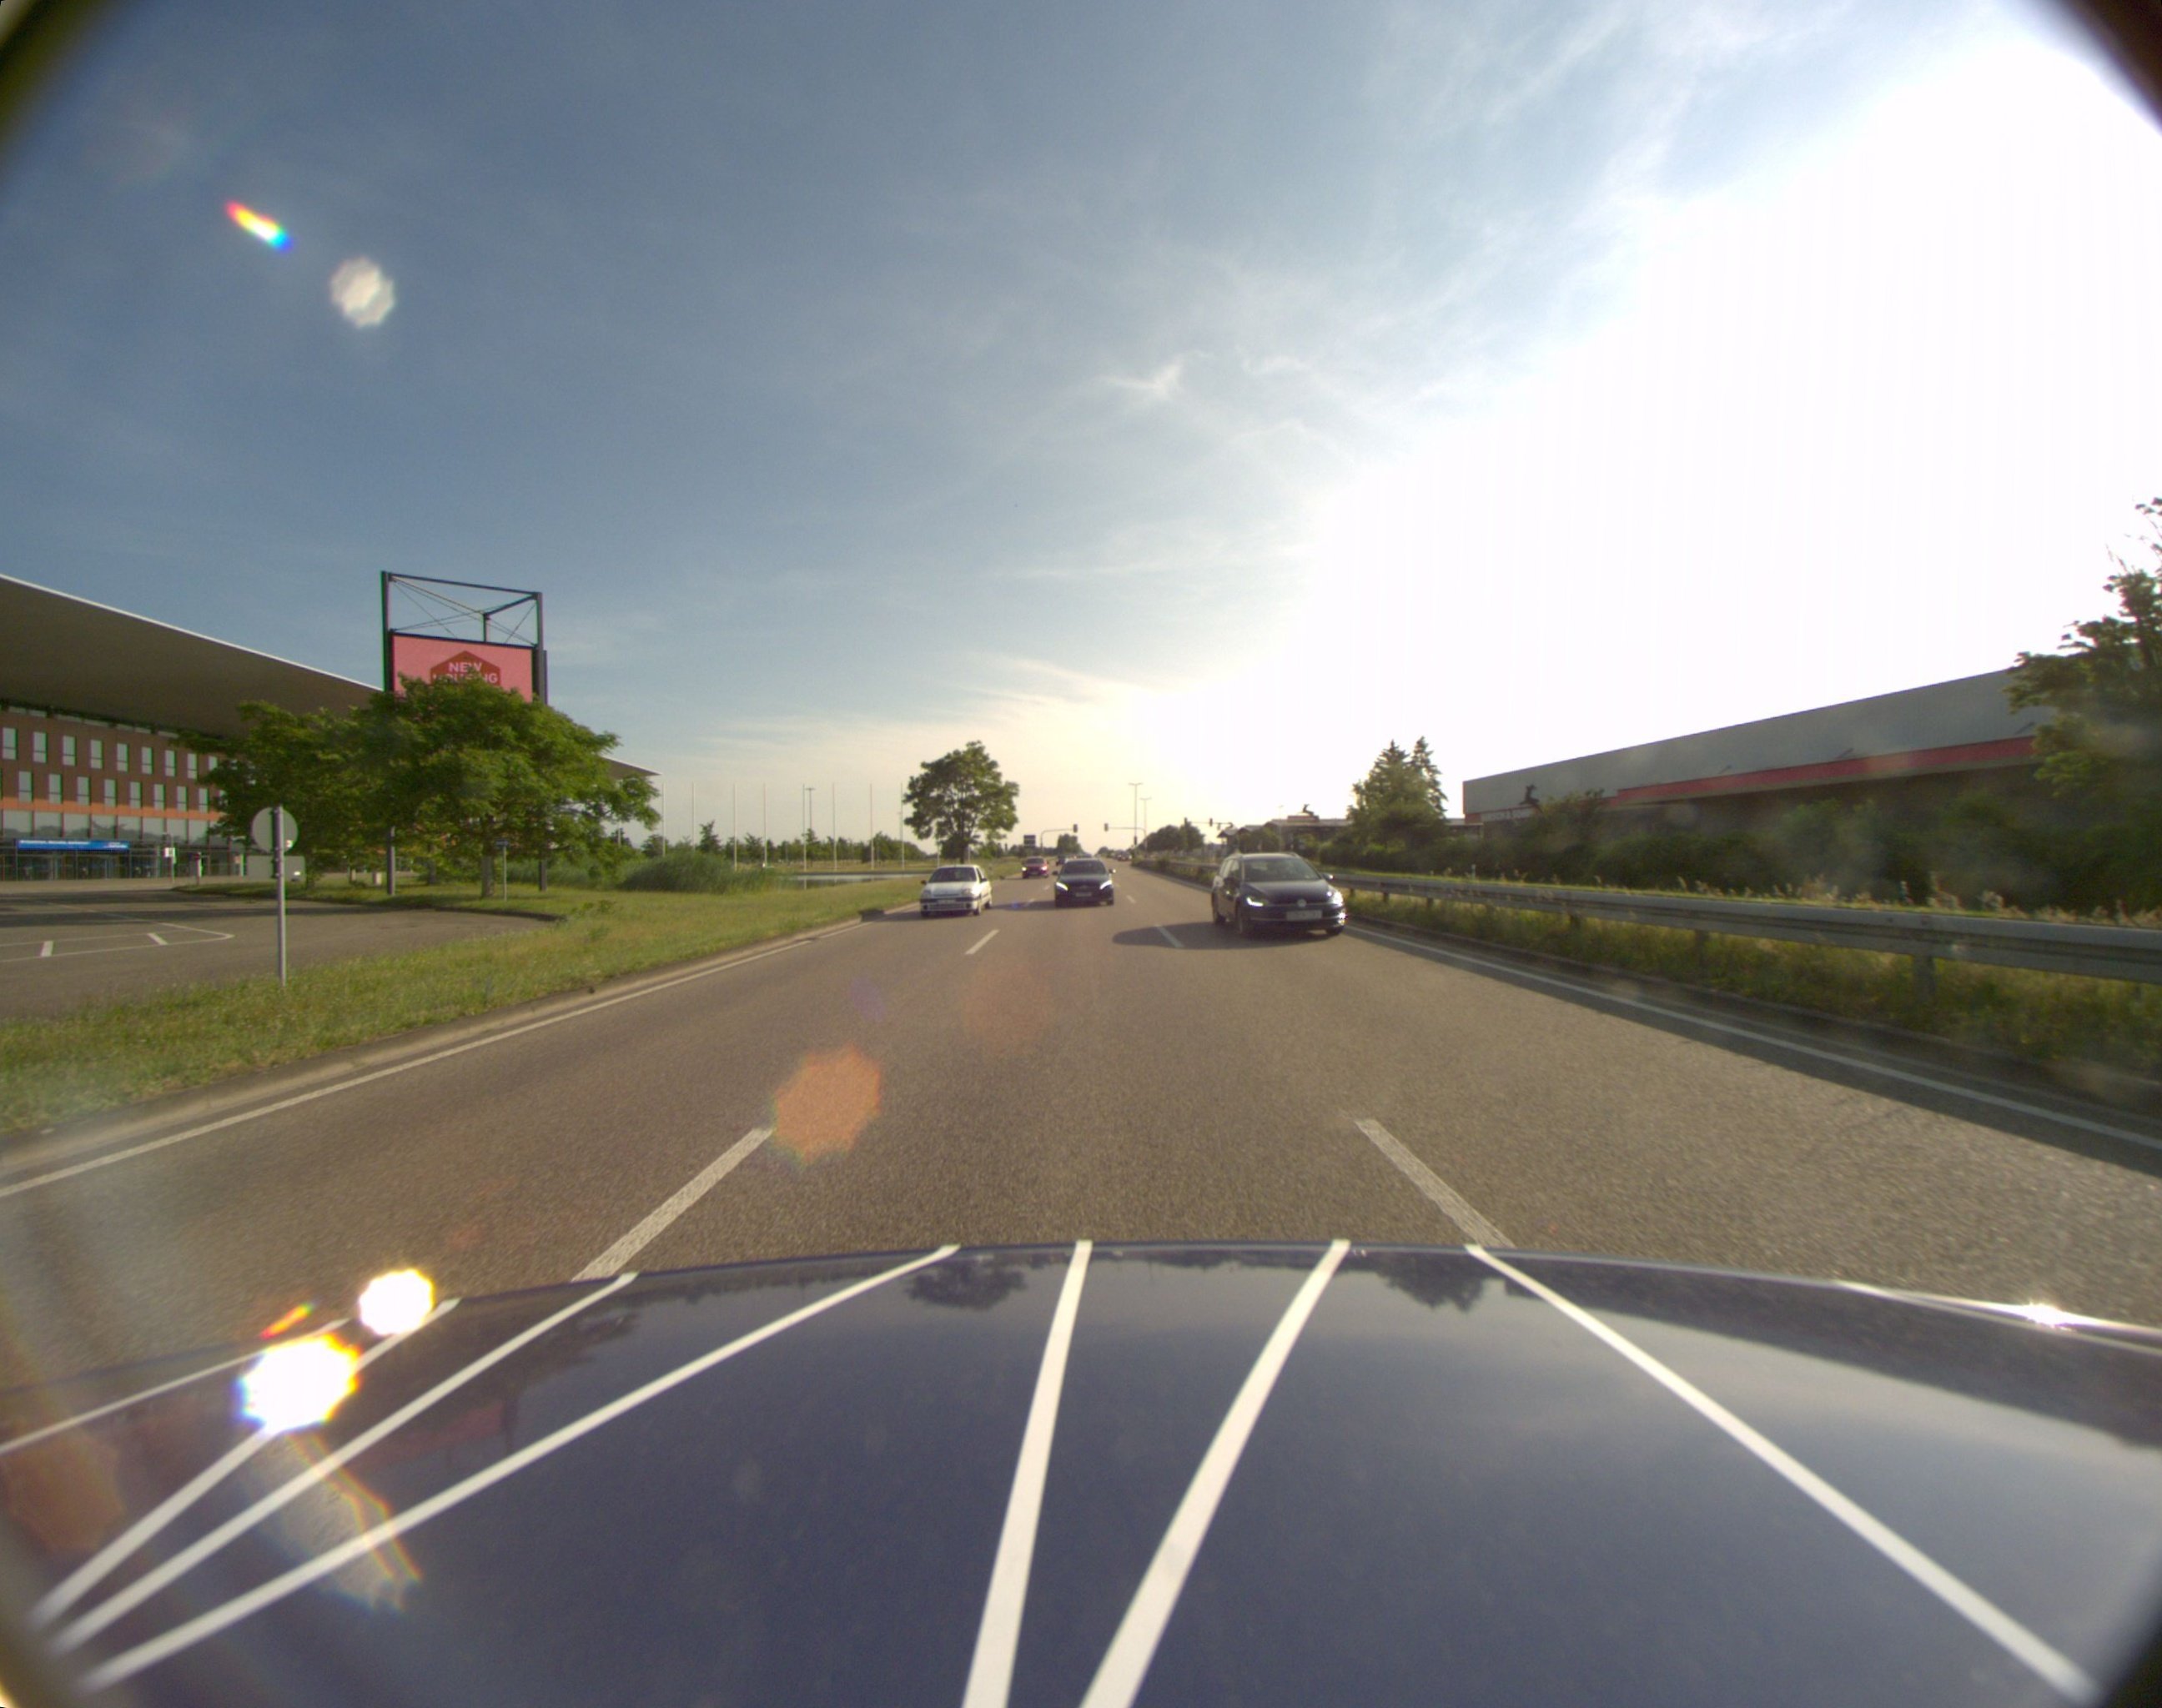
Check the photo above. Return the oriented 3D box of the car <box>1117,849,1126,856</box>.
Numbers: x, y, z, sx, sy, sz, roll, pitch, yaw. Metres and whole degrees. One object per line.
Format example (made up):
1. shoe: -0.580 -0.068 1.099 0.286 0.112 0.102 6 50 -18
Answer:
1. car: 9.235 -0.398 175.460 1.751 1.512 3.739 -2 0 -1

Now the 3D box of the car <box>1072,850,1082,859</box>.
1. car: -0.788 0.089 142.792 1.751 1.512 3.739 -2 0 1

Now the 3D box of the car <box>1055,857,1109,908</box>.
1. car: 0.075 0.859 25.094 1.576 1.462 5.022 -1 0 1

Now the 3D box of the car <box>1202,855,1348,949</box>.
1. car: 3.531 0.789 14.729 1.650 1.462 4.776 -2 0 1

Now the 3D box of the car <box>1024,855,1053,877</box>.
1. car: -3.042 0.835 54.731 1.751 1.512 3.739 -2 0 1

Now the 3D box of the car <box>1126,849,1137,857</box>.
1. car: 9.131 -0.224 136.551 1.711 1.428 3.565 -2 0 1

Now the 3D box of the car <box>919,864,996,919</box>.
1. car: -3.459 1.022 21.902 1.578 1.371 3.452 -2 0 1

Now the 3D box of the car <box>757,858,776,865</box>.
1. car: -62.932 1.477 151.914 1.709 1.447 3.568 -2 0 12

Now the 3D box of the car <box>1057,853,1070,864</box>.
1. car: -2.494 0.608 111.514 1.751 1.512 3.739 -2 0 1
